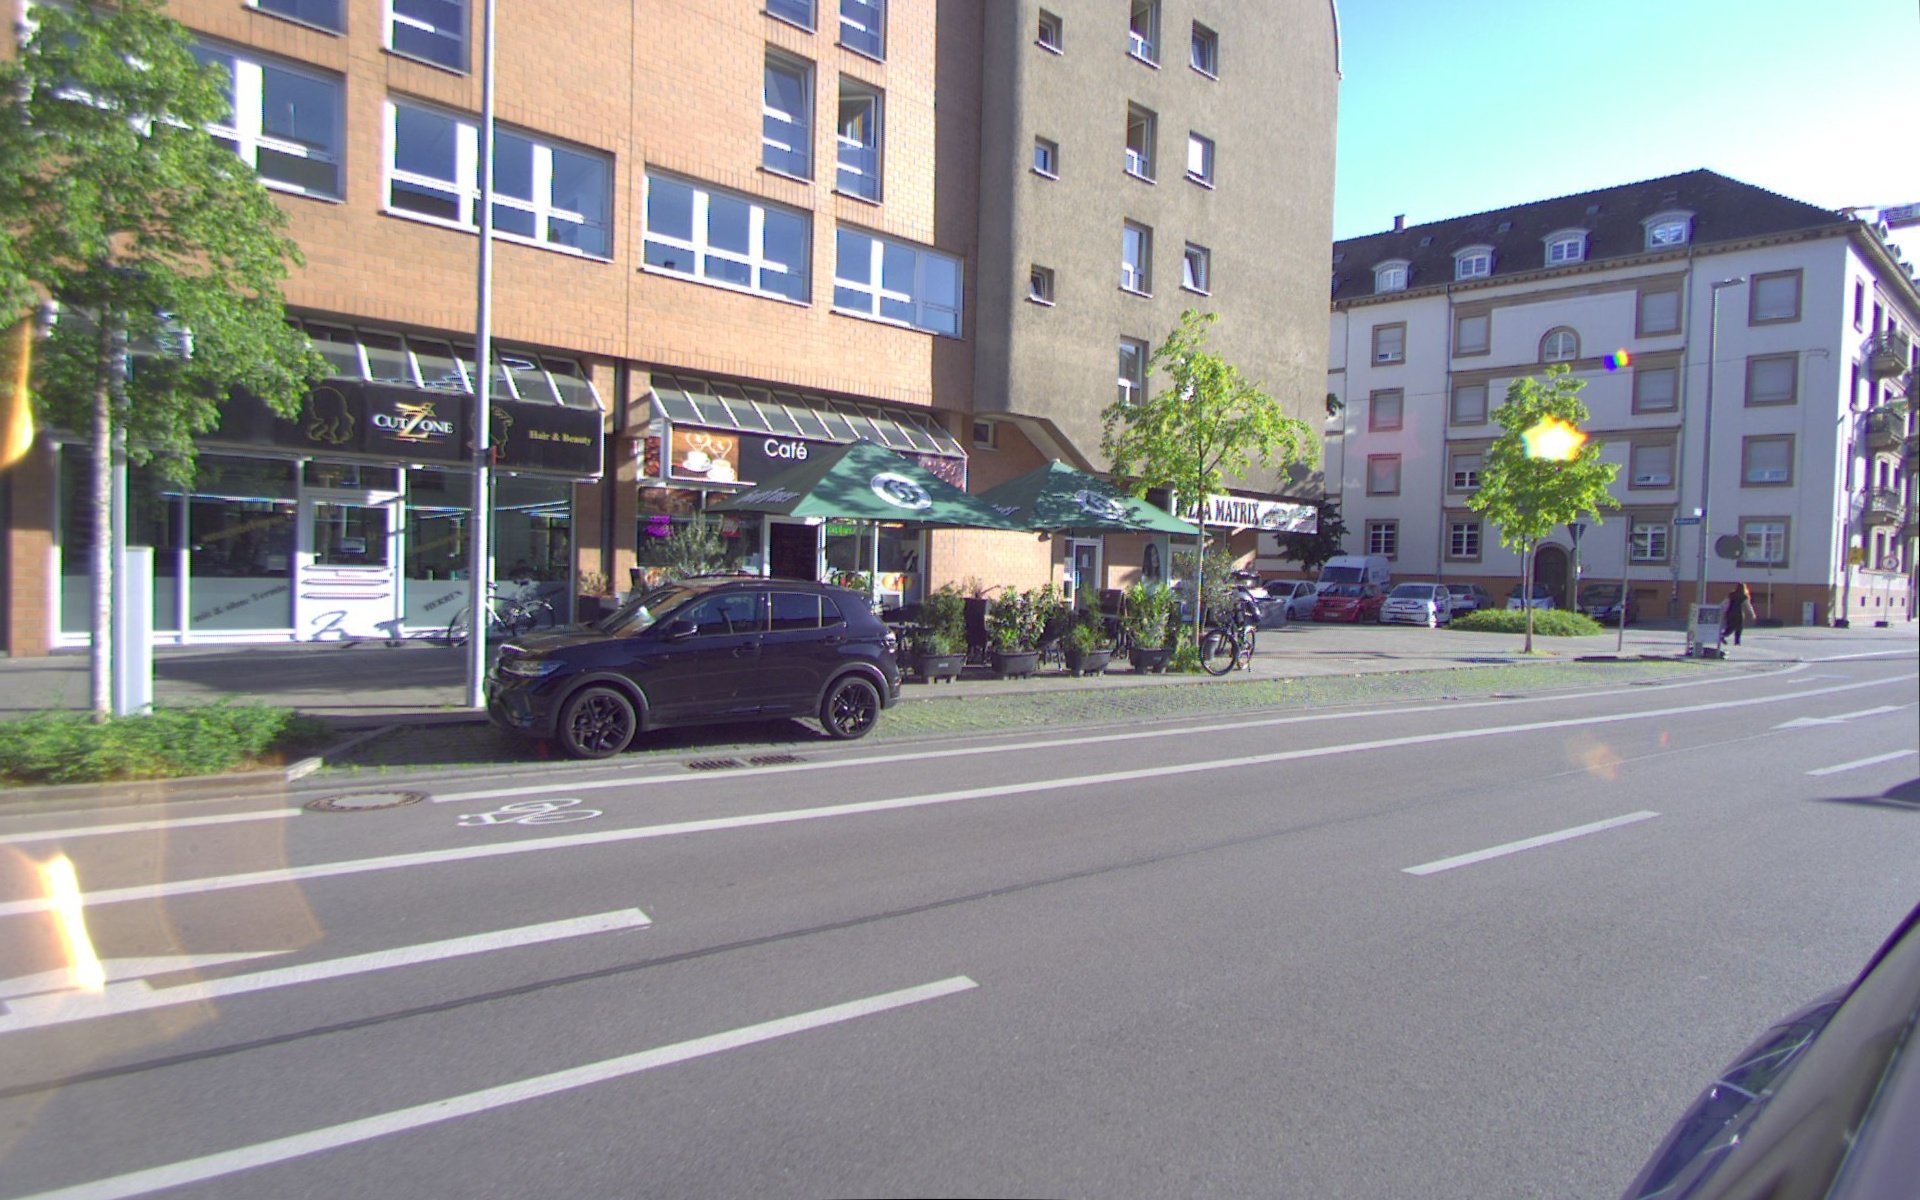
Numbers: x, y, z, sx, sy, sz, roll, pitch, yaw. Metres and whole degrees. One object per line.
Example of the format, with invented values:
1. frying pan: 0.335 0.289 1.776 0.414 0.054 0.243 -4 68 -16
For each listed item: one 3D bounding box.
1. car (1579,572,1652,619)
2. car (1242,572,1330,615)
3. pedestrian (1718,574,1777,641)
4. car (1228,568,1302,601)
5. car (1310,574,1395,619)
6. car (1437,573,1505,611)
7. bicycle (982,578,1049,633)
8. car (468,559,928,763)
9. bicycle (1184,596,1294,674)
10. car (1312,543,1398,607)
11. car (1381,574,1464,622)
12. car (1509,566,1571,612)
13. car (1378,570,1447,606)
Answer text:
1. car: 25.729 -0.212 39.656 1.691 1.707 4.373 0 2 42
2. car: 11.814 -0.247 36.553 1.632 1.473 3.675 0 0 43
3. pedestrian: 22.073 0.196 28.386 1.083 1.784 0.888 -1 4 -30
4. car: 14.691 -0.737 48.644 3.933 1.509 1.692 0 0 -43
5. car: 13.580 -0.127 34.923 1.630 1.471 3.602 0 0 40
6. car: 21.838 -0.371 43.136 1.690 1.446 4.379 0 3 39
7. bicycle: 1.277 0.120 23.109 1.511 1.183 0.614 0 3 -43
8. car: -2.548 0.463 10.202 4.149 1.656 1.728 0 3 -33
9. bicycle: 4.652 0.543 16.814 1.965 1.093 0.767 -2 8 -43
10. car: 17.965 -1.210 45.840 1.920 2.640 5.882 2 5 39
11. car: 15.328 -0.080 33.475 1.659 1.493 3.783 0 0 38
12. car: 23.902 -0.507 41.636 1.620 1.707 4.380 1 3 38
13. car: 20.136 -0.544 44.947 1.690 1.497 4.376 0 1 40
